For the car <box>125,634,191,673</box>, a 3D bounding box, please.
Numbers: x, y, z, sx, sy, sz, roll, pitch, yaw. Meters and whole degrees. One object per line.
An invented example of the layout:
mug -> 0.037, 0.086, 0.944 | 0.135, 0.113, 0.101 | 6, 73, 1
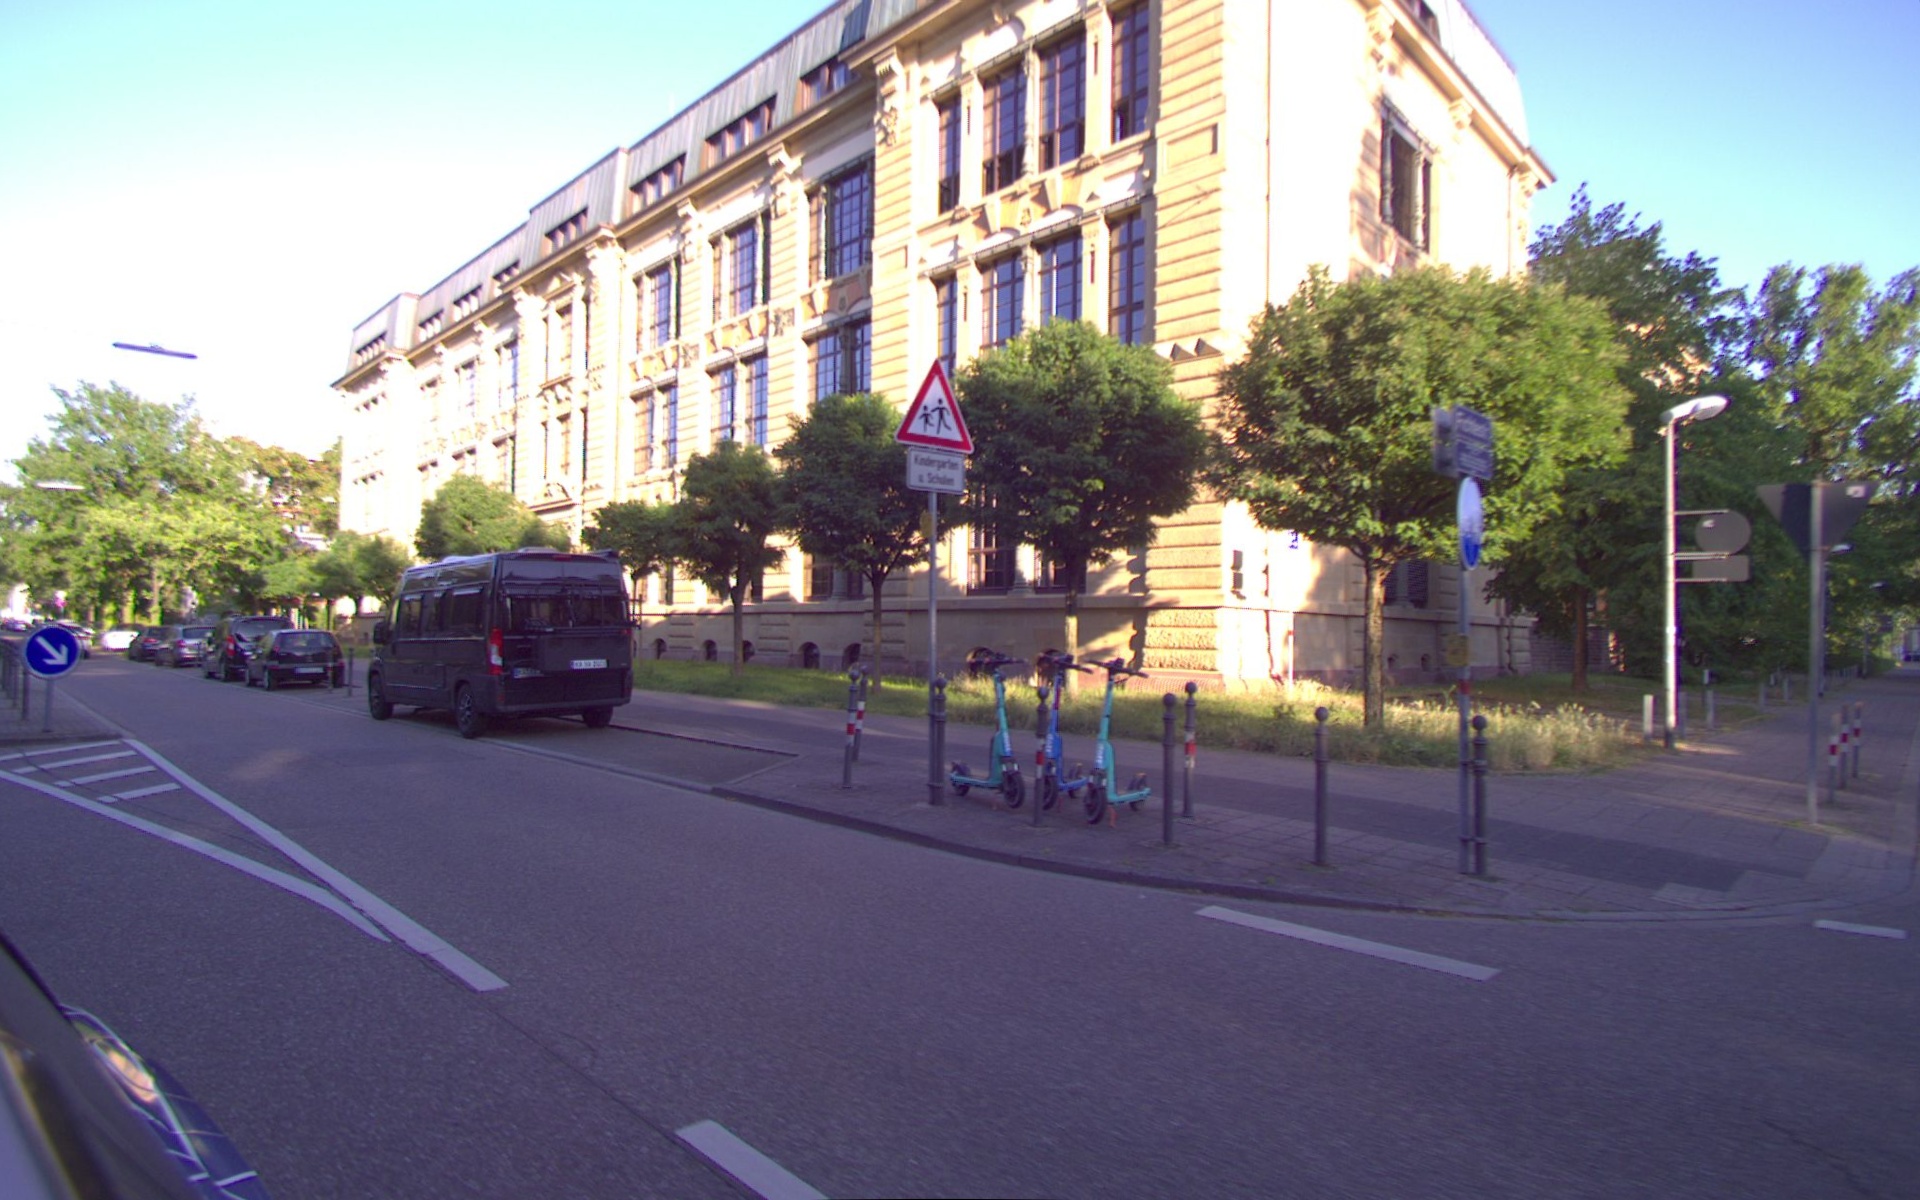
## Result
car -> -32.991, 2.148, 41.595 | 4.379, 1.507, 1.599 | -1, -2, 45

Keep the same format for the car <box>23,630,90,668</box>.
car -> -37.496, 2.010, 41.964 | 4.625, 1.469, 1.721 | -1, -3, 44

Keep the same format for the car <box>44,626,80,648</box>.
car -> -69.864, 2.851, 78.692 | 4.149, 1.628, 1.783 | -1, -3, 45

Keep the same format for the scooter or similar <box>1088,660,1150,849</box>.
scooter or similar -> 1.231, 1.132, 7.840 | 0.427, 1.284, 1.340 | 0, -2, 9

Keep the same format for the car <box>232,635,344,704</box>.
car -> -16.625, 1.639, 24.968 | 1.676, 1.481, 3.858 | 0, -1, -43

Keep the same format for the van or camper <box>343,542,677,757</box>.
van or camper -> -7.125, 0.647, 15.390 | 7.082, 2.564, 2.204 | -1, -1, 44

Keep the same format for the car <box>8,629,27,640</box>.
car -> -124.394, 4.541, 133.577 | 1.751, 1.494, 4.111 | 1, -2, -45

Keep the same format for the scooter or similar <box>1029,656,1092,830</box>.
scooter or similar -> 0.858, 1.132, 8.442 | 0.427, 1.284, 1.340 | 0, -2, 9

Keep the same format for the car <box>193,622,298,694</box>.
car -> -20.514, 1.604, 28.997 | 1.757, 1.880, 4.335 | -1, -1, -45

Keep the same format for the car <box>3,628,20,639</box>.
car -> -145.203, 5.164, 154.916 | 1.751, 1.580, 4.111 | 1, -2, -45

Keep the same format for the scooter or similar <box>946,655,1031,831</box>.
scooter or similar -> 0.208, 1.117, 8.307 | 0.425, 1.284, 1.347 | 1, -2, -10

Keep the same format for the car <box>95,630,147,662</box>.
car -> -42.001, 2.264, 50.642 | 3.926, 1.507, 1.599 | -1, -2, 45

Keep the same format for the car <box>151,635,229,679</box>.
car -> -28.023, 2.023, 36.773 | 1.699, 1.507, 4.380 | 2, -2, -44
